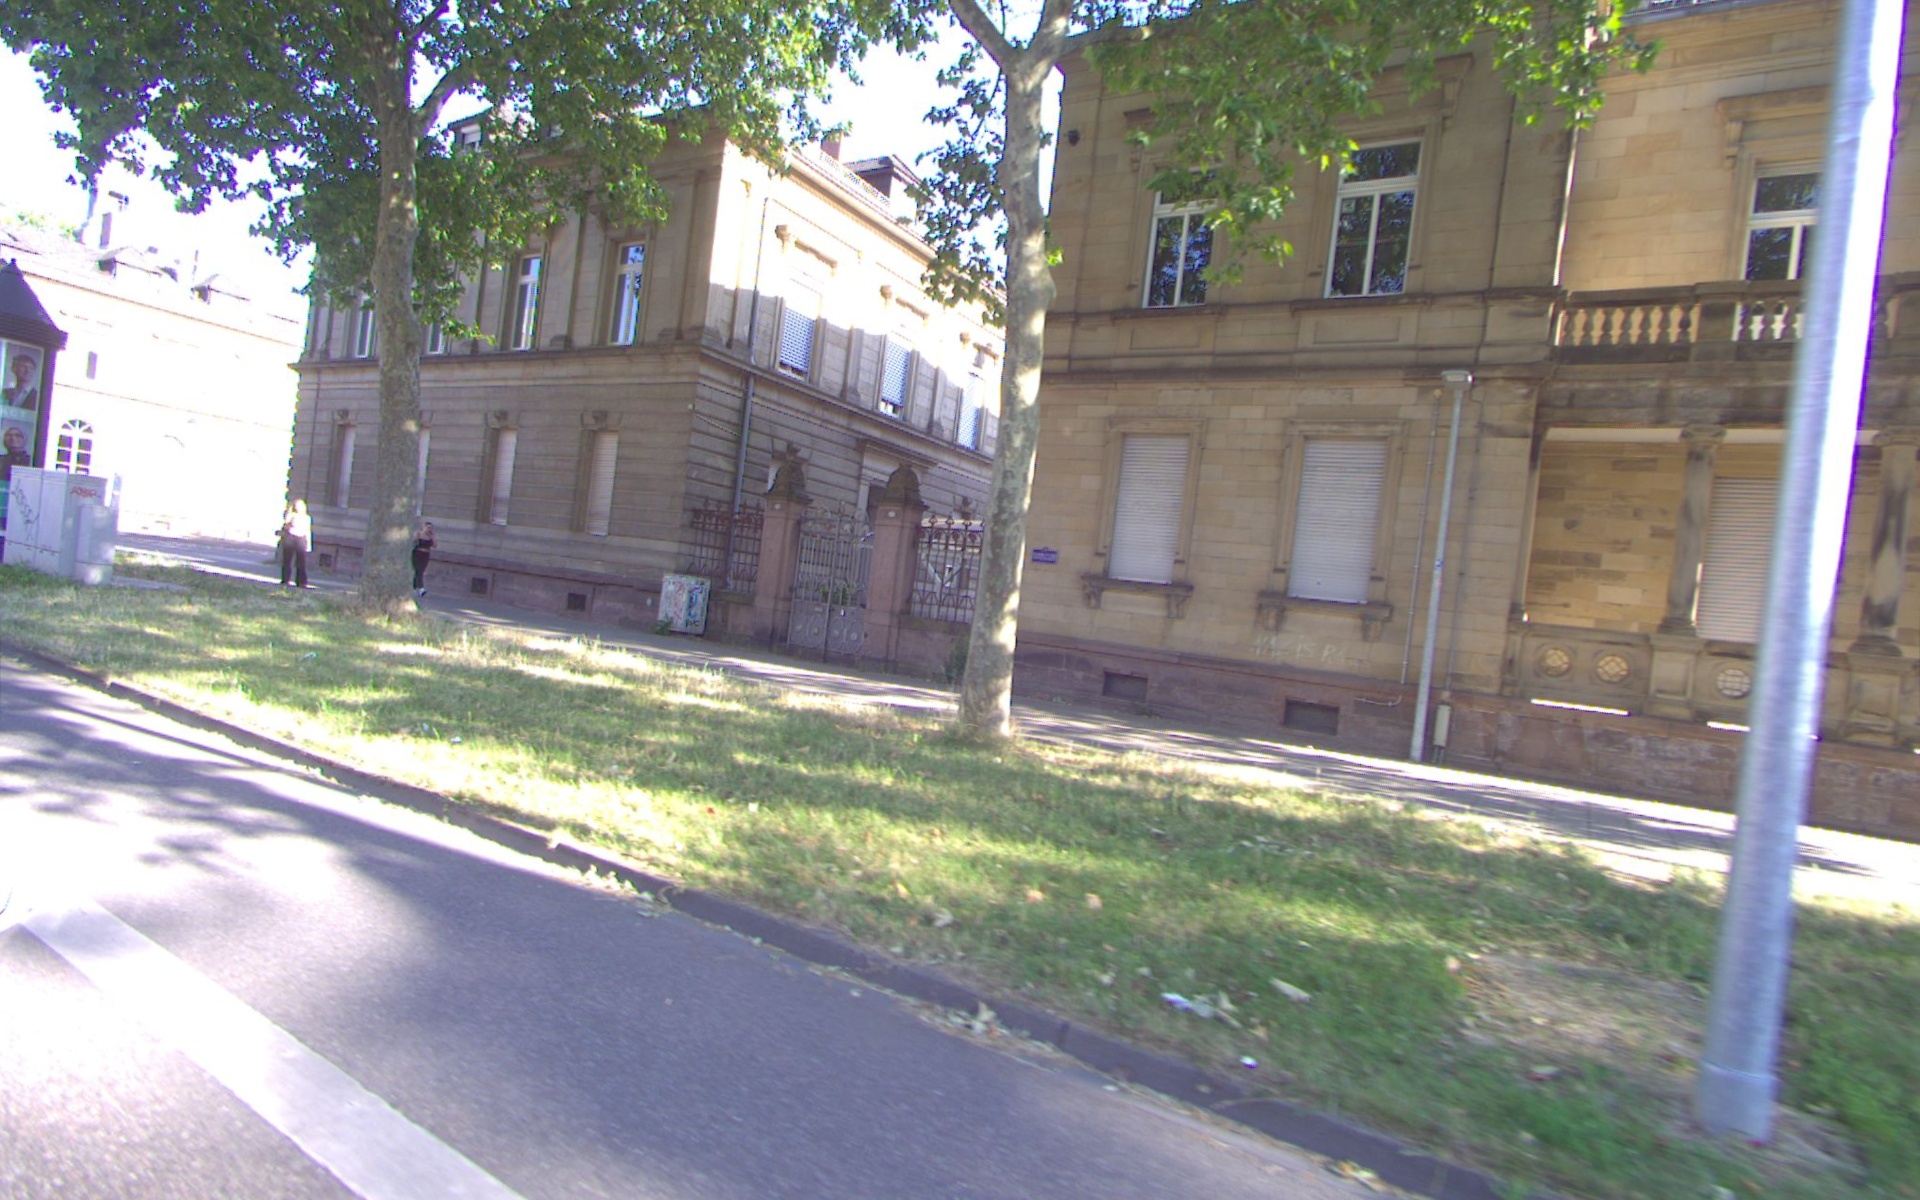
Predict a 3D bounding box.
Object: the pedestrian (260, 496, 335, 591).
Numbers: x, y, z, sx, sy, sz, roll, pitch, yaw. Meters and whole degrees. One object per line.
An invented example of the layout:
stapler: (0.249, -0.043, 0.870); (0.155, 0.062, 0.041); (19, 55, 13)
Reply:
pedestrian: (-13.108, -1.114, 19.892); (1.025, 1.731, 0.770); (7, 1, 33)

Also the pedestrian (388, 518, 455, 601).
pedestrian: (-11.524, -0.861, 21.519); (0.970, 1.626, 0.770); (7, 1, 33)
